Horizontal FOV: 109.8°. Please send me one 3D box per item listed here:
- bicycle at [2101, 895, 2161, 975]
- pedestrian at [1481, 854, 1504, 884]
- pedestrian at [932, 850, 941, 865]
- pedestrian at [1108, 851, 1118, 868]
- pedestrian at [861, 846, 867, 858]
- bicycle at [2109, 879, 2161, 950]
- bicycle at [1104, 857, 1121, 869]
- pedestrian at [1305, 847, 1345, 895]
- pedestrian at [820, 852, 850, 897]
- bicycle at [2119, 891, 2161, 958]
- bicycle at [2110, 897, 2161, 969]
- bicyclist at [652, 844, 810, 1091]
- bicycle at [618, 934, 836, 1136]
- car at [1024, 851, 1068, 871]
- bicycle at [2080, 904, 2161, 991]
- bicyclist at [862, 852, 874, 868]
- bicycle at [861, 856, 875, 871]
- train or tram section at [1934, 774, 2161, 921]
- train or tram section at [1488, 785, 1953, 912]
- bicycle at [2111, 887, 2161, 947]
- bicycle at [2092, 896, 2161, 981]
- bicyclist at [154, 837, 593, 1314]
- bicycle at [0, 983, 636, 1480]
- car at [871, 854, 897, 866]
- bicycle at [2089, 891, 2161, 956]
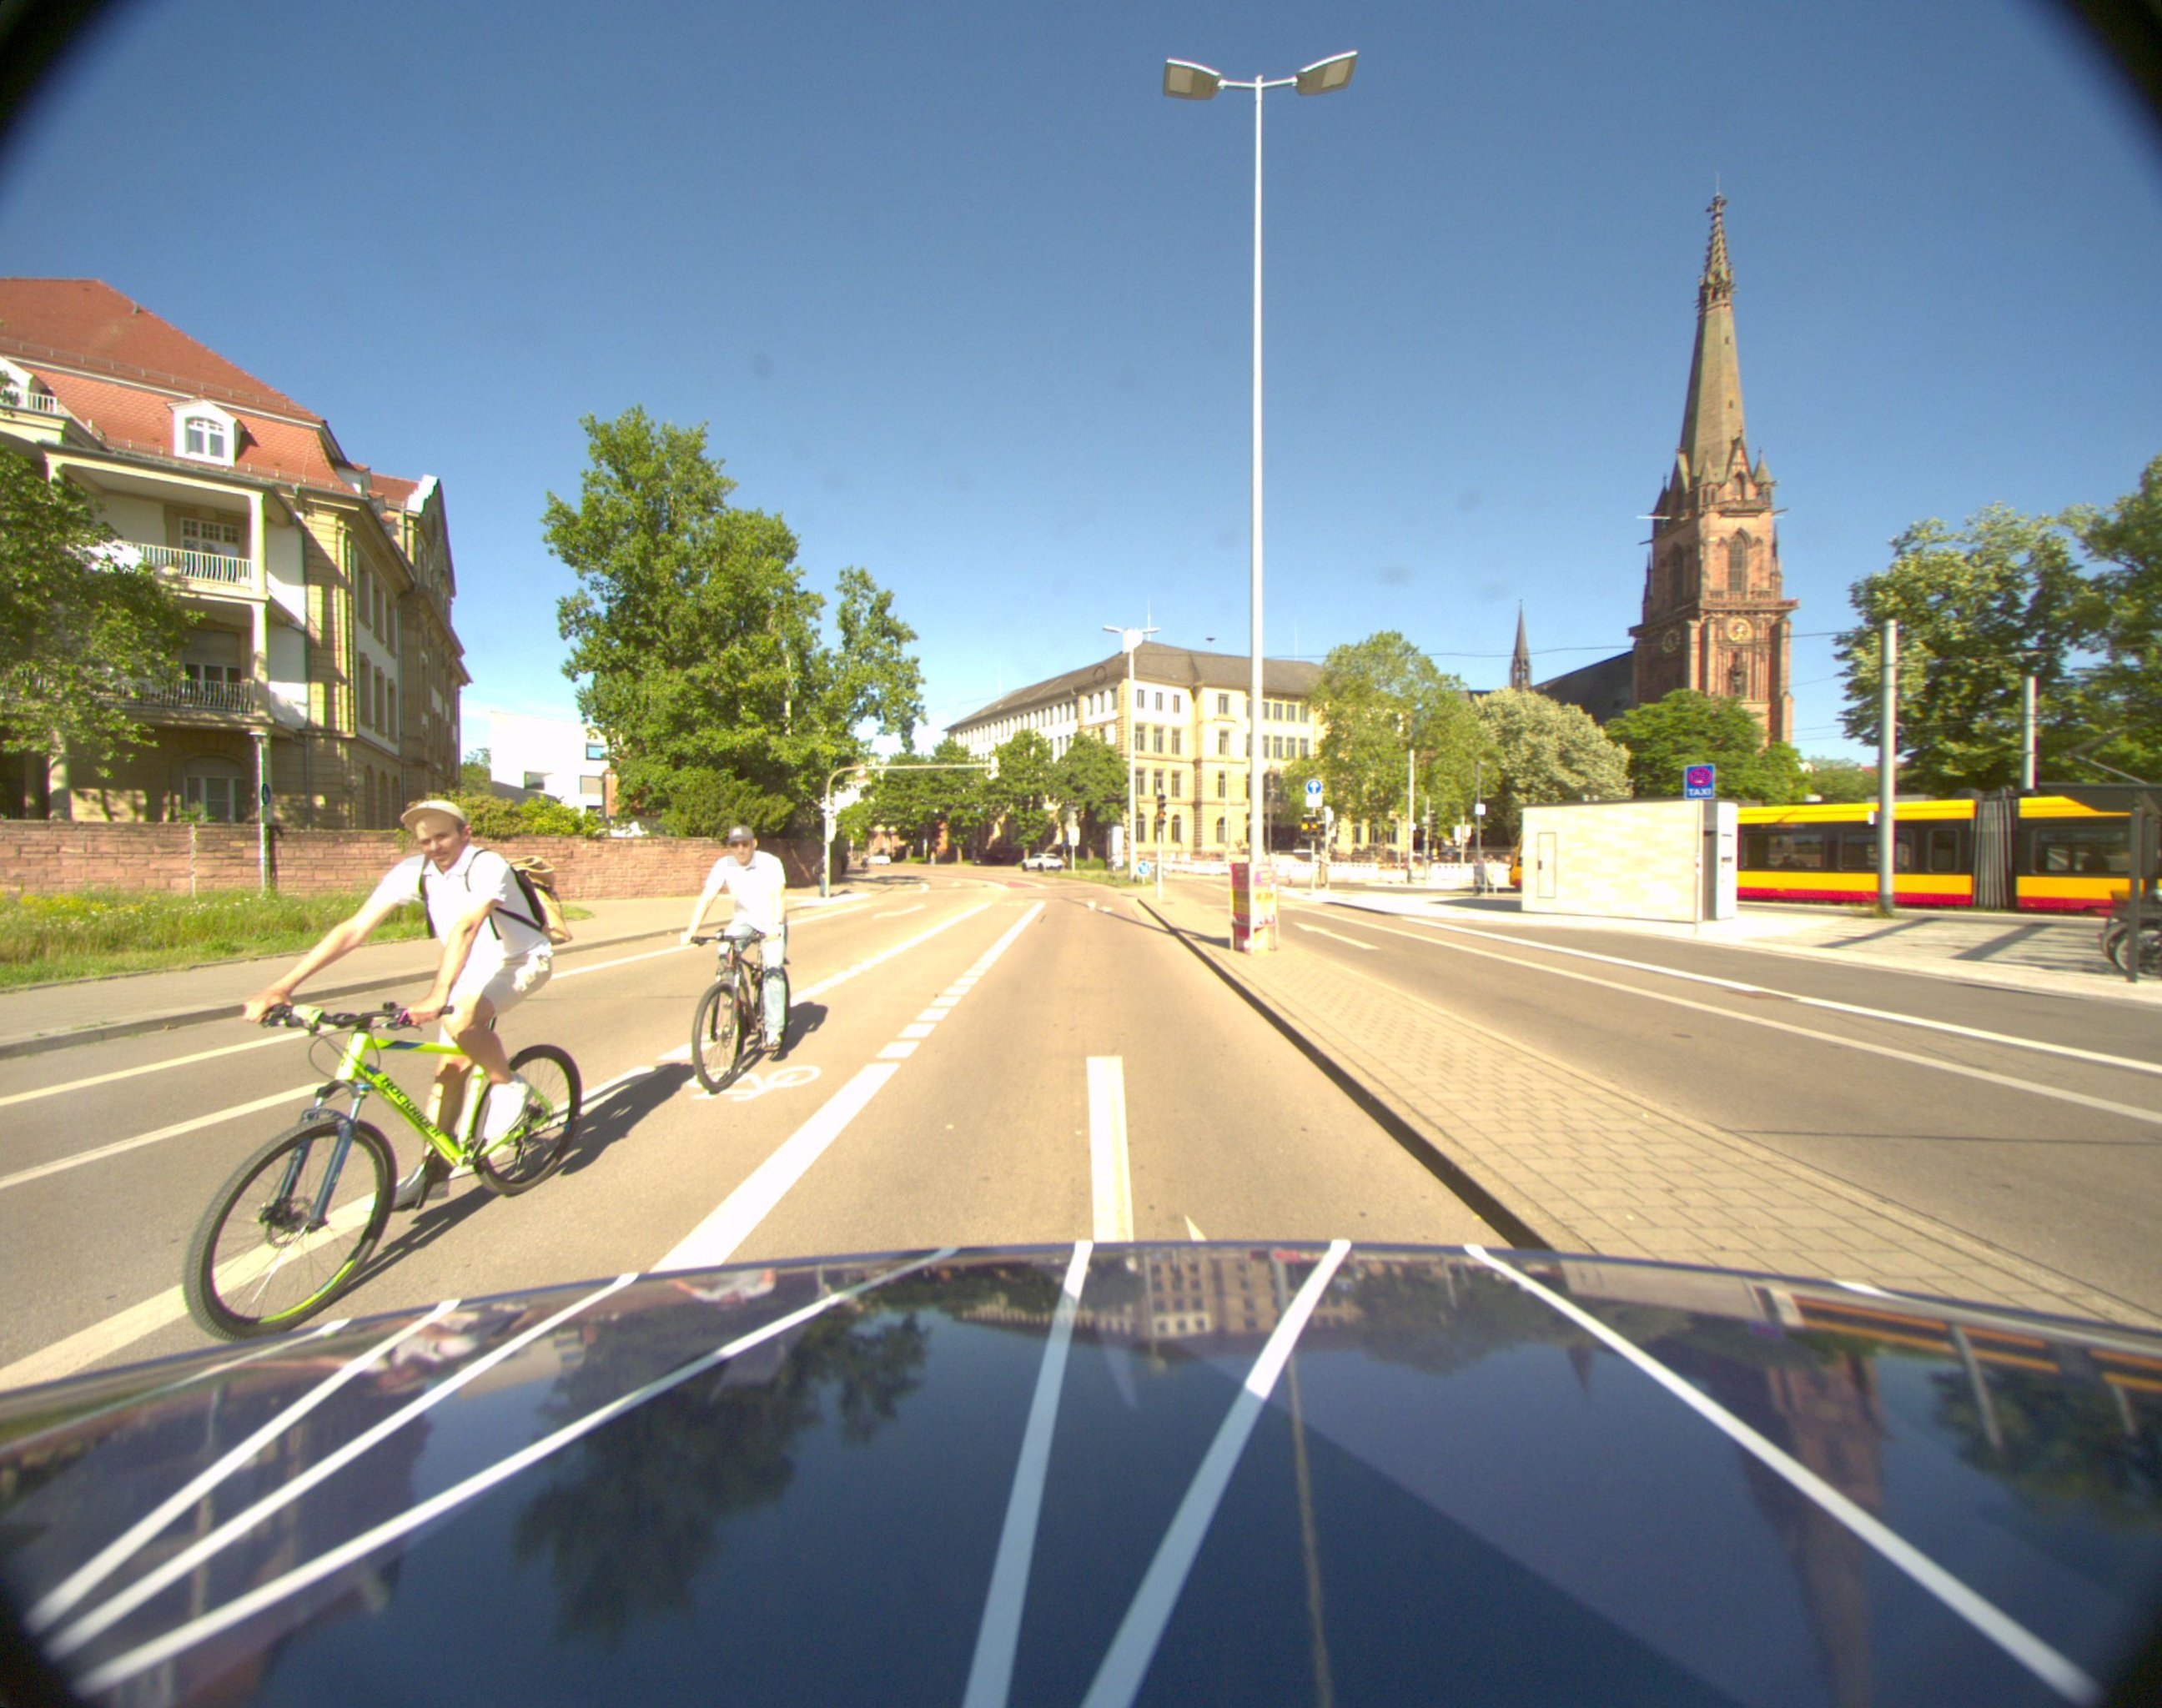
[{"bbox_3d":[15.131,1.121,10.101,0.574,1.045,1.826,-1,1,-32],"label":"bicycle"},{"bbox_3d":[24.469,0.865,45.182,0.807,1.731,0.933,-1,1,-35],"label":"pedestrian"},{"bbox_3d":[-18.411,0.437,97.045,0.759,1.802,0.977,-1,1,-40],"label":"pedestrian"},{"bbox_3d":[2.716,0.436,64.400,0.596,1.394,0.644,-3,1,-24],"label":"pedestrian"},{"bbox_3d":[-35.512,-0.303,124.290,0.758,1.801,0.979,-2,-2,-18],"label":"pedestrian"},{"bbox_3d":[18.936,1.054,12.822,0.630,1.173,1.826,-1,1,-32],"label":"bicycle"},{"bbox_3d":[2.688,0.749,64.498,0.601,1.000,1.983,-3,1,-25],"label":"bicycle"},{"bbox_3d":[9.527,0.641,29.635,1.230,1.845,0.826,0,1,-14],"label":"pedestrian"},{"bbox_3d":[-10.310,0.854,31.876,0.961,1.839,0.731,1,1,-1],"label":"pedestrian"},{"bbox_3d":[17.155,1.105,11.398,0.630,1.002,1.826,-1,1,-32],"label":"bicycle"},{"bbox_3d":[16.168,1.167,10.773,0.630,1.002,1.826,-1,1,-32],"label":"bicycle"},{"bbox_3d":[-2.508,0.763,5.552,0.742,1.664,0.865,0,1,-1],"label":"bicyclist"},{"bbox_3d":[-2.507,1.224,5.678,0.749,1.044,1.903,0,1,-1],"label":"bicycle"},{"bbox_3d":[-3.017,0.574,65.242,1.851,1.543,4.324,1,1,-32],"label":"car"},{"bbox_3d":[13.921,1.211,9.364,0.702,1.002,1.863,-1,2,-32],"label":"bicycle"},{"bbox_3d":[-20.294,0.570,72.326,0.871,1.551,1.277,-1,1,-28],"label":"bicyclist"},{"bbox_3d":[-20.242,0.855,72.250,0.763,1.360,2.732,-1,1,-27],"label":"bicycle"},{"bbox_3d":[28.847,-0.159,17.262,2.806,3.580,12.294,-1,1,-35],"label":"train or tram section"},{"bbox_3d":[21.777,-0.194,27.457,2.806,3.580,12.504,-1,1,-35],"label":"train or tram section"},{"bbox_3d":[19.515,1.131,13.230,0.630,1.002,1.826,-1,1,-32],"label":"bicycle"},{"bbox_3d":[14.661,1.135,9.836,0.630,1.059,1.826,-1,1,-32],"label":"bicycle"},{"bbox_3d":[-2.703,0.739,3.074,0.676,1.574,1.081,-2,1,0],"label":"bicyclist"},{"bbox_3d":[-2.686,1.217,3.049,0.673,1.044,1.843,-2,1,0],"label":"bicycle"},{"bbox_3d":[-24.792,0.714,95.384,1.853,1.477,4.154,-1,1,-35],"label":"car"},{"bbox_3d":[17.802,1.143,12.234,0.630,1.002,1.826,-1,1,-32],"label":"bicycle"}]
